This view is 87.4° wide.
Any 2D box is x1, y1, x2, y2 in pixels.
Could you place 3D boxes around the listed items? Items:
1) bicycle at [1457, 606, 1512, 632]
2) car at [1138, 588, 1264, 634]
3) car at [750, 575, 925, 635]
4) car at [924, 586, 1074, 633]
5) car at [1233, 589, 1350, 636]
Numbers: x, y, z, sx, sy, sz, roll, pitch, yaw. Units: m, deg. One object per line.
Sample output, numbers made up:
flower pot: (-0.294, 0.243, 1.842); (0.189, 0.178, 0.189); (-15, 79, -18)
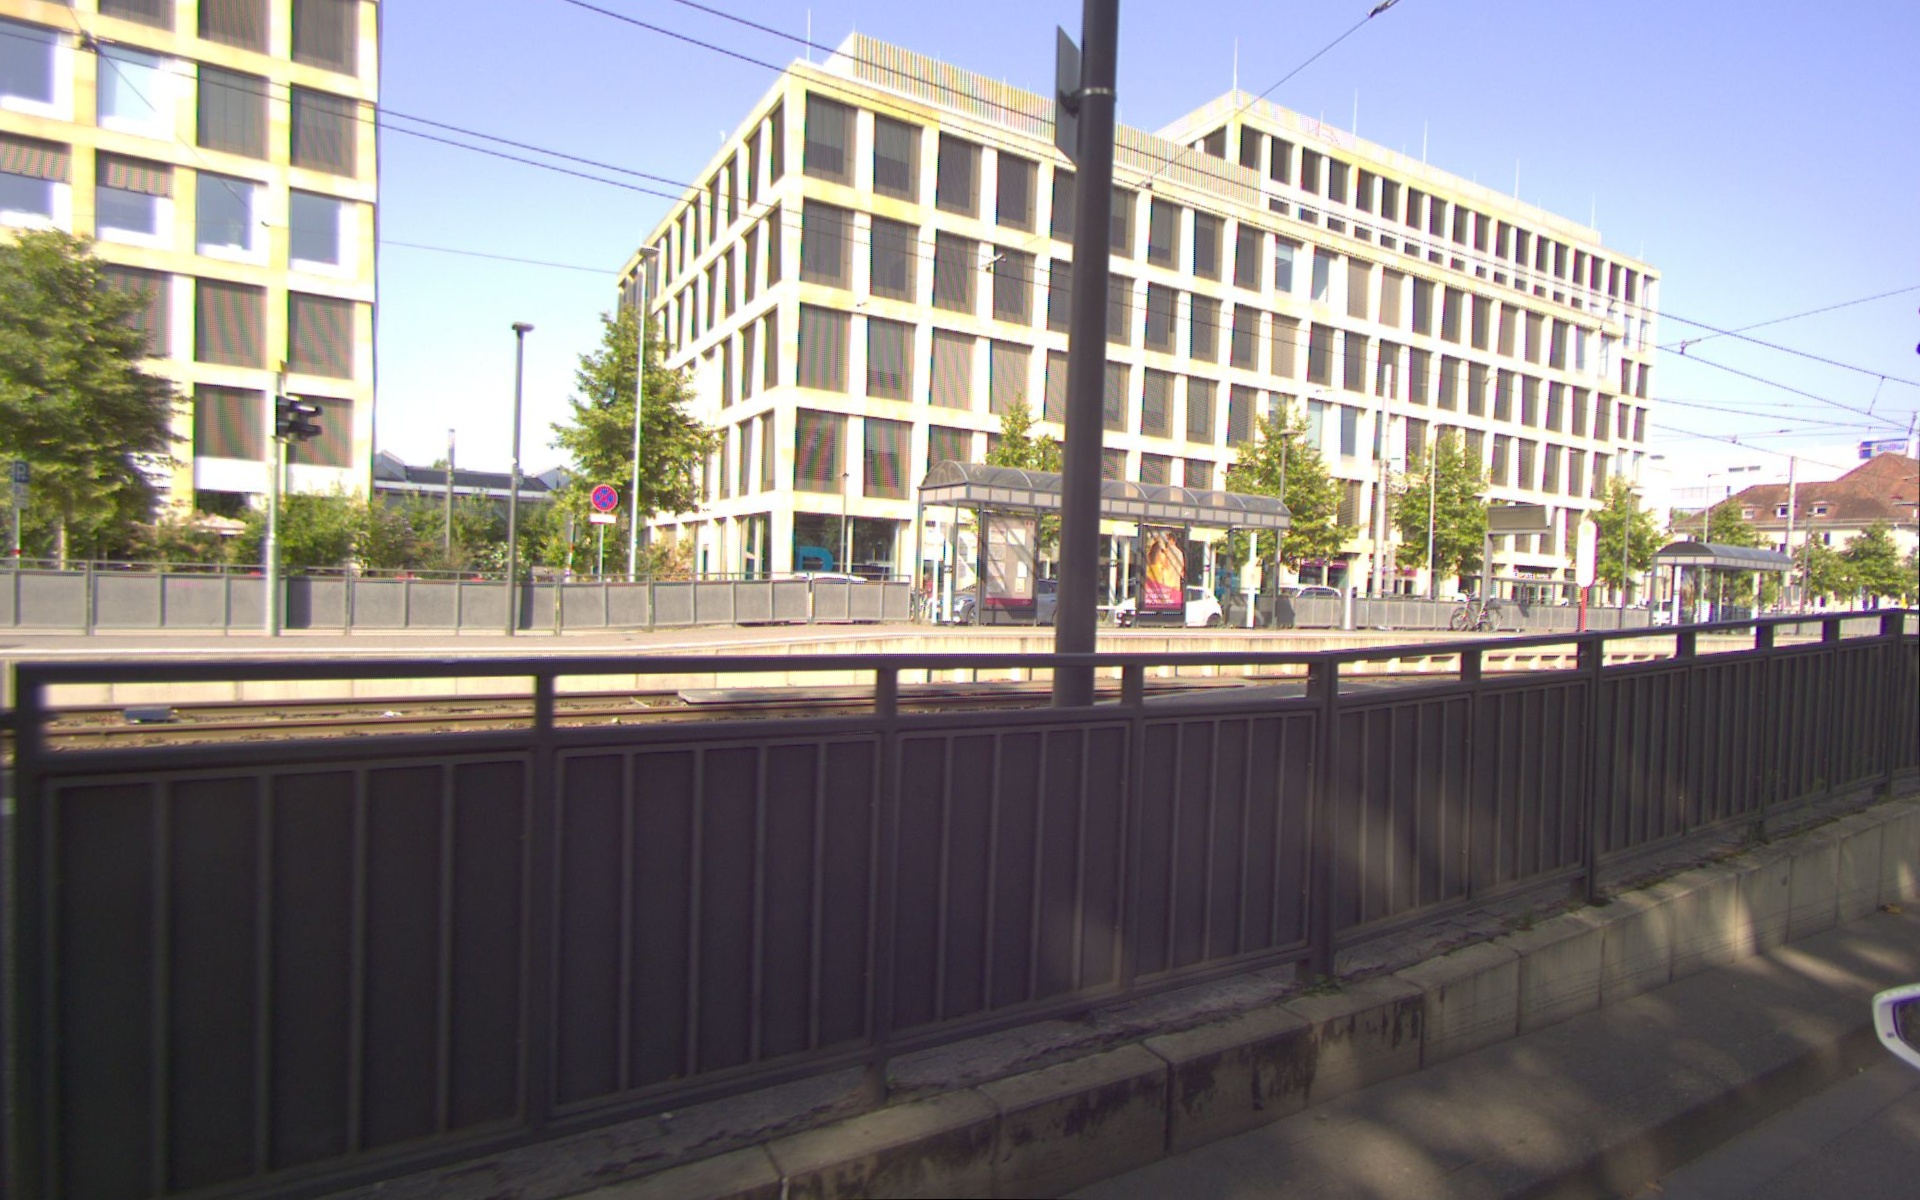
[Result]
bicycle: (14.631, 0.529, 28.009); (1.592, 0.671, 0.475); (2, 1, -26)
car: (8.155, 0.381, 33.873); (4.174, 1.395, 1.633); (1, 1, -31)
car: (-3.119, 0.141, 25.858); (4.174, 1.395, 1.633); (1, 1, -31)
car: (1.180, 0.290, 29.444); (4.174, 1.270, 1.633); (1, 1, -31)
car: (11.872, 0.460, 35.912); (4.174, 1.571, 1.633); (1, 1, -31)
